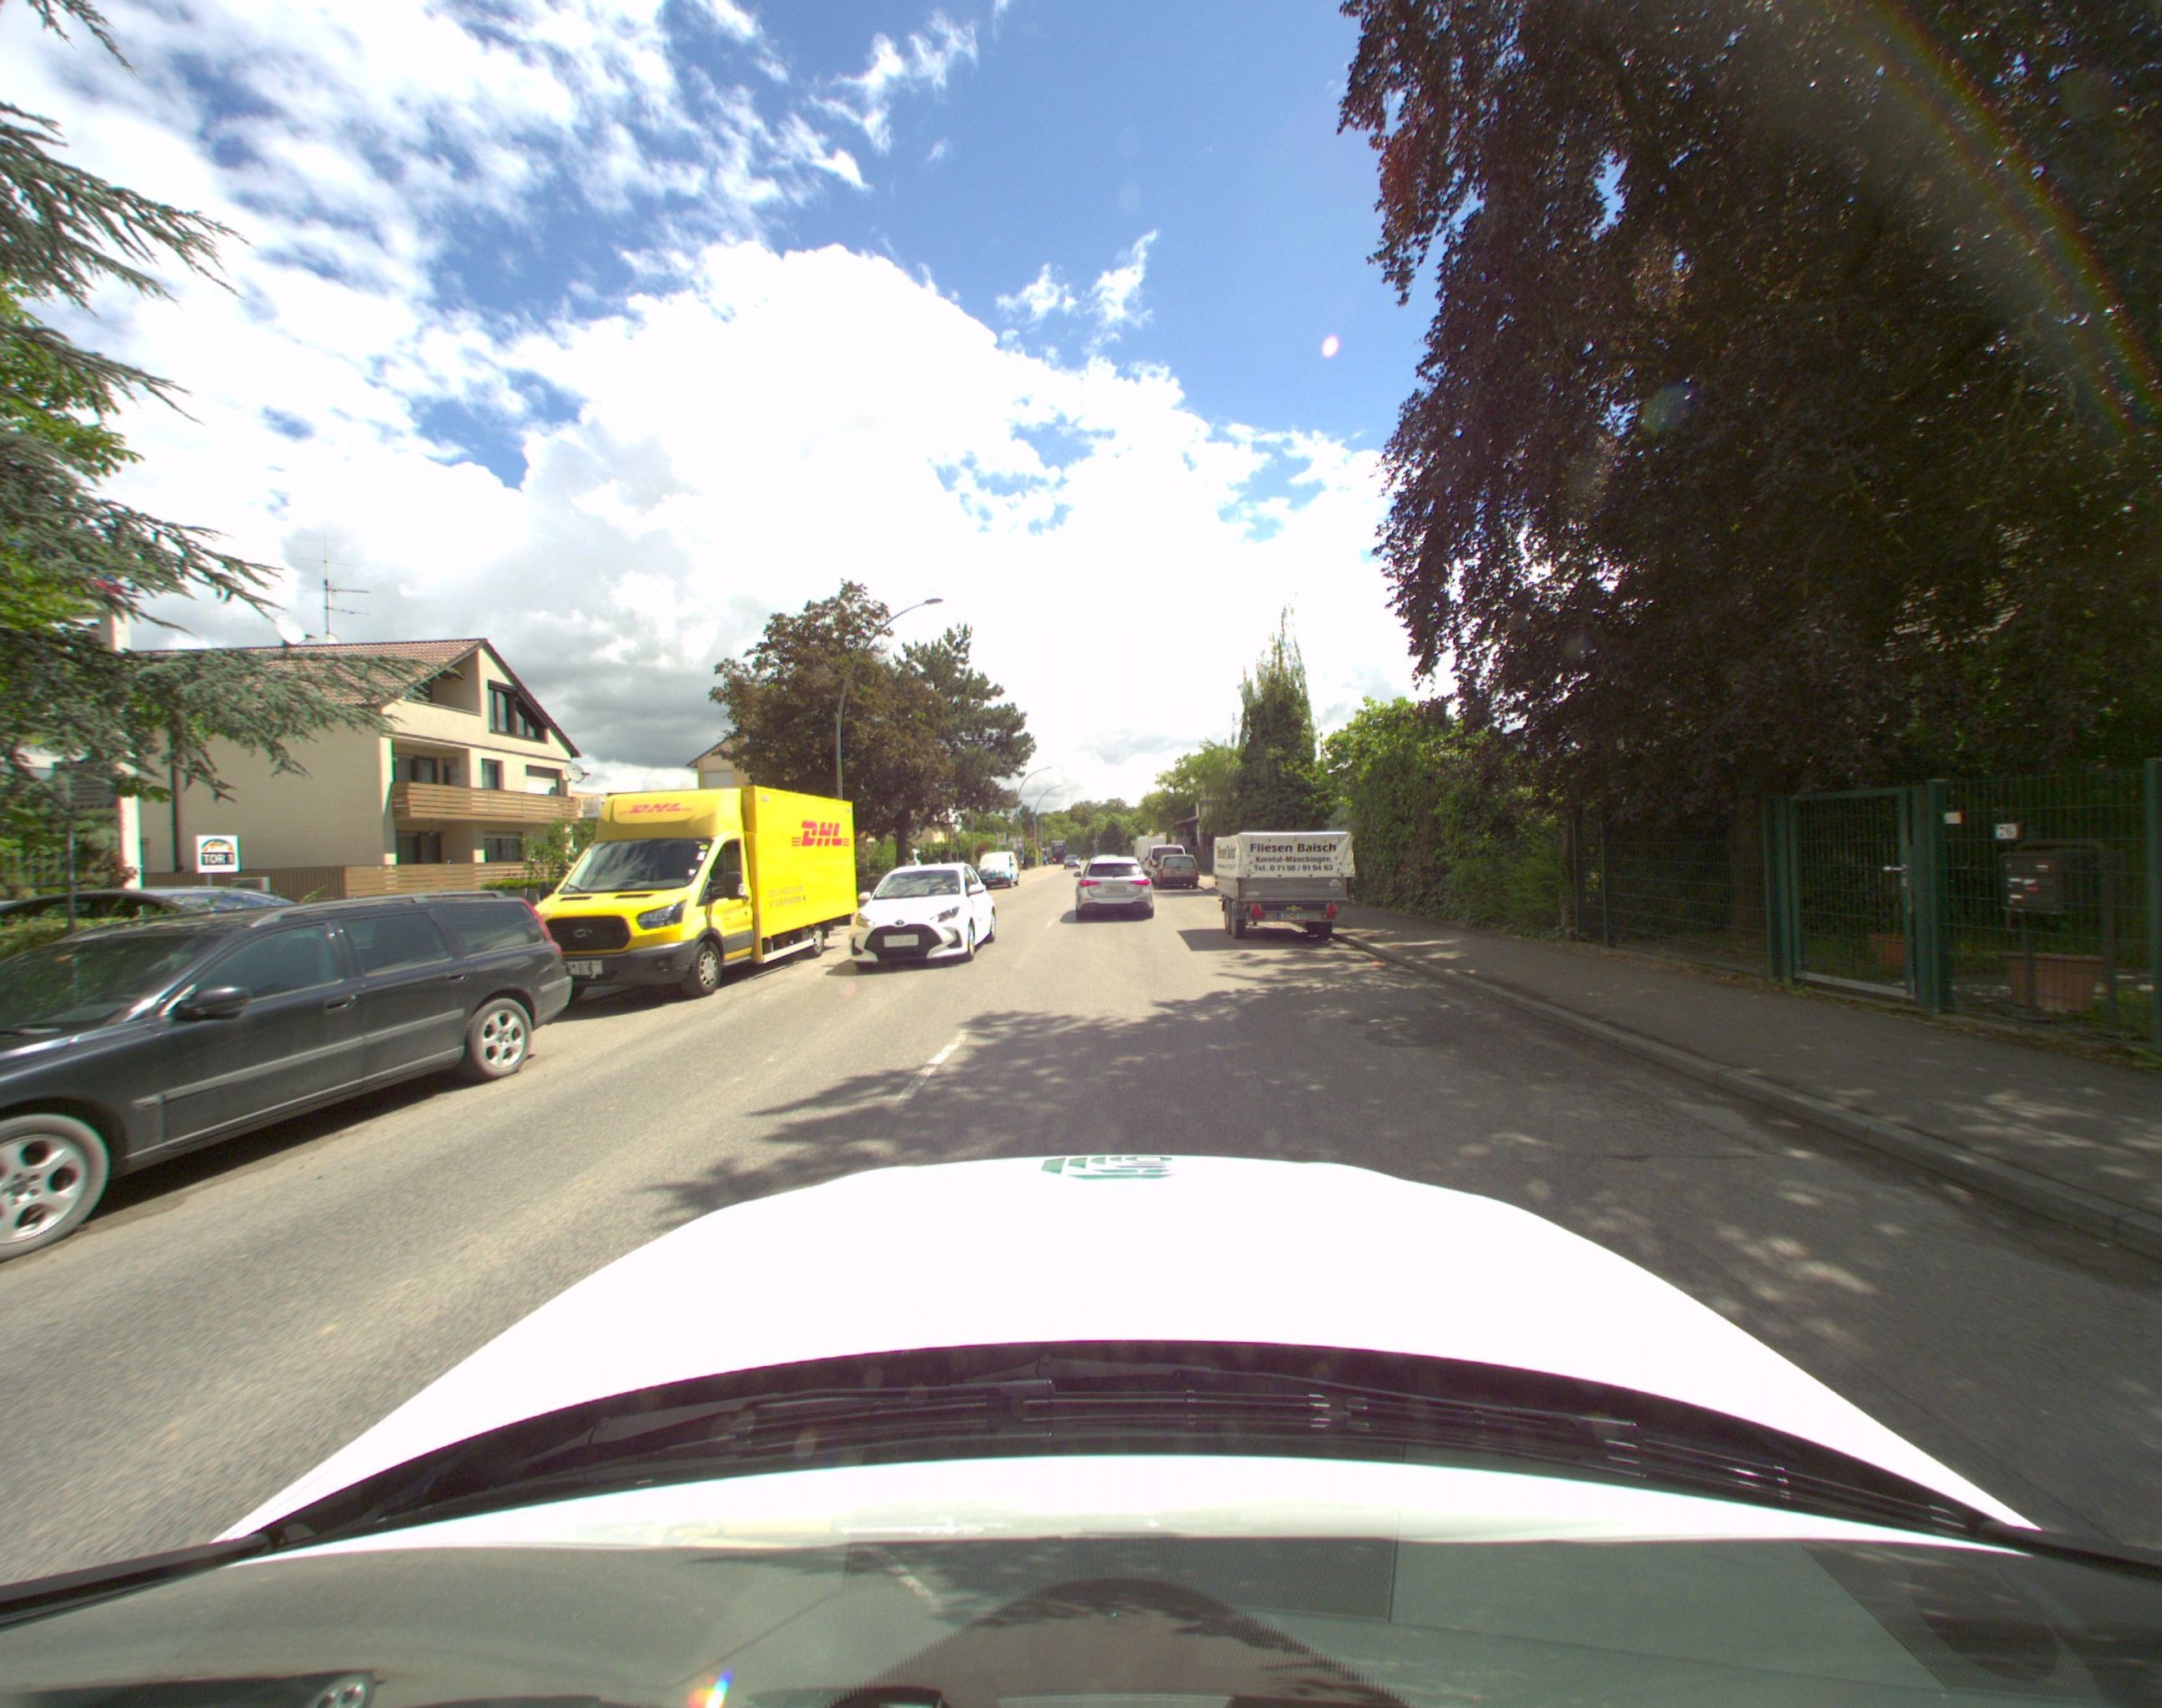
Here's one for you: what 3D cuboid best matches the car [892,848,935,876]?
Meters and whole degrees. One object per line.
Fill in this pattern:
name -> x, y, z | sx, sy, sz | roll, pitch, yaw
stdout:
car -> -16.425, 0.737, 80.239 | 2.401, 2.495, 6.143 | -4, 0, 5

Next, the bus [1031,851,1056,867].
bus -> -8.668, 1.160, 187.731 | 2.784, 3.266, 12.053 | -3, 0, -17

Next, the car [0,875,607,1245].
car -> -5.530, 1.019, 5.131 | 1.986, 1.453, 4.814 | -6, 0, 2

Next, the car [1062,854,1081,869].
car -> -0.991, 0.820, 89.145 | 1.894, 1.518, 4.319 | -3, 0, 1

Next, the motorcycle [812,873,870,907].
motorcycle -> -8.873, 1.327, 30.086 | 1.855, 1.165, 0.828 | -3, 0, 18

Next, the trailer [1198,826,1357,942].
trailer -> 3.475, 0.478, 15.366 | 1.986, 1.823, 4.767 | -1, 0, 2

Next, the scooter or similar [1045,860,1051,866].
scooter or similar -> -4.389, 1.190, 108.278 | 0.609, 0.831, 0.659 | -1, 0, 2

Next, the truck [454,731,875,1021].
truck -> -5.558, 0.238, 12.842 | 2.316, 3.003, 7.819 | -5, 0, 1

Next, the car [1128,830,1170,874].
car -> 4.473, -0.129, 54.331 | 2.207, 2.689, 6.658 | -3, 0, 1

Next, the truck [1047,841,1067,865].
truck -> -4.235, -0.099, 141.261 | 2.428, 4.131, 9.122 | 0, -1, -9

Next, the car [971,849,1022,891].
car -> -4.339, 0.775, 42.501 | 1.826, 1.853, 4.898 | -6, 1, 2

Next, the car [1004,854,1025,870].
car -> -7.436, 0.865, 91.650 | 2.025, 1.595, 4.283 | -3, 0, -1

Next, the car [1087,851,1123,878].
car -> 1.431, 0.639, 50.007 | 1.880, 1.508, 3.996 | -2, 0, -2

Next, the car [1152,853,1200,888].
car -> 4.106, 0.675, 35.883 | 1.748, 1.450, 4.997 | 0, 0, 2

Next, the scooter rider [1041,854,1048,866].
scooter rider -> -4.892, 0.812, 108.758 | 0.875, 1.589, 0.796 | -2, 0, 2

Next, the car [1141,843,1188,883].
car -> 4.200, 0.408, 41.494 | 1.898, 1.885, 5.390 | -1, 0, 1

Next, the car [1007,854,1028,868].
car -> -7.416, 0.852, 96.033 | 2.147, 1.507, 4.266 | -3, 0, -1

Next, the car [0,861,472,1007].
car -> -11.217, 0.975, 10.621 | 4.991, 1.552, 1.972 | -2, 0, 0

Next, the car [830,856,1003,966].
car -> -2.479, 0.803, 13.364 | 1.976, 1.420, 3.999 | -3, 0, -1

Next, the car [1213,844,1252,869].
car -> 9.789, 0.121, 53.036 | 1.758, 1.489, 4.929 | -2, 1, 2

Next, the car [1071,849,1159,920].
car -> 0.825, 0.683, 20.016 | 1.877, 1.508, 4.002 | -2, 0, 2
